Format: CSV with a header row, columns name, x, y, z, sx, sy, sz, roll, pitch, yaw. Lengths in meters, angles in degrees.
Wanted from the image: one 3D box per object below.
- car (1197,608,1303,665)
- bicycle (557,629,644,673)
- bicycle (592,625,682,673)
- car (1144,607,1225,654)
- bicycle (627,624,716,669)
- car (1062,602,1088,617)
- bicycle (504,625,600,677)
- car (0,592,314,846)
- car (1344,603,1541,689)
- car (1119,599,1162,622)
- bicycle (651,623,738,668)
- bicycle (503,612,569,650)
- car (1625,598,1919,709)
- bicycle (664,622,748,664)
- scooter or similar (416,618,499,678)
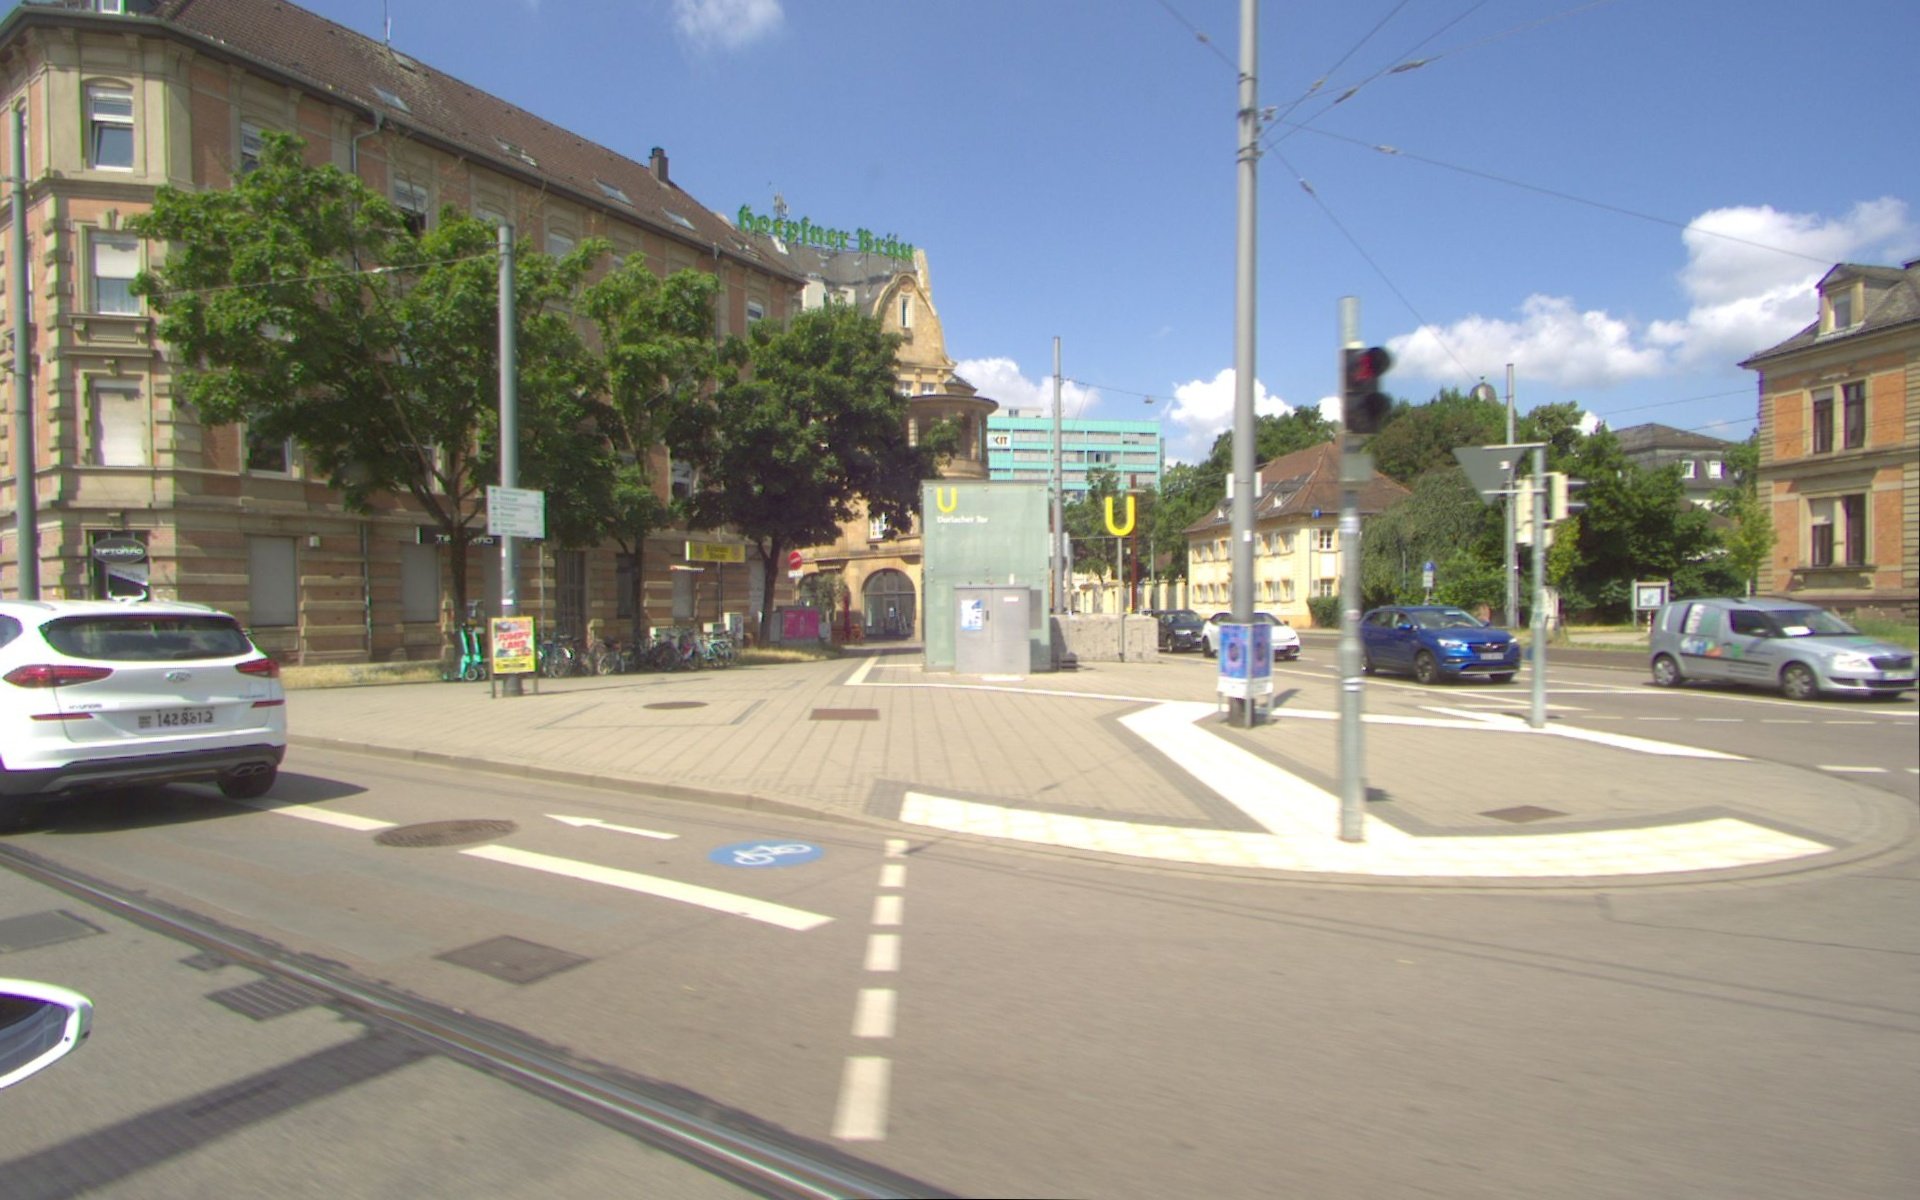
name,x,y,z,sx,sy,sz,roll,pitch,yaw
car,8.937,1.081,31.201,1.902,1.586,3.994,0,0,-4
bicycle,-8.662,1.199,24.081,2.257,0.892,0.839,2,3,36
bicycle,-8.152,1.210,25.238,2.539,1.084,0.789,0,2,36
car,8.409,1.107,37.903,1.838,1.609,4.425,0,0,-3
bicycle,-7.449,1.170,25.810,2.539,1.068,0.789,0,2,36
car,11.550,0.922,100.591,1.649,1.405,3.793,0,0,-9
bicycle,-9.531,1.169,23.375,2.233,1.096,1.021,0,2,36
car,-7.487,0.829,8.397,4.119,1.655,1.850,-1,-2,31
car,10.201,0.902,21.601,1.838,1.571,4.425,-2,0,-4
car,14.736,0.864,82.024,1.964,1.795,3.993,0,1,-14
bicycle,-7.069,1.183,26.632,2.539,1.105,0.789,0,2,36
bicycle,-12.671,0.907,29.964,0.755,1.064,1.638,1,1,41
car,13.710,0.771,16.830,1.838,1.609,4.425,0,0,-5
bicycle,-7.031,1.172,27.657,2.539,1.068,0.789,0,2,36
scooter or similar,-10.842,1.013,21.626,1.368,1.219,0.947,0,1,27
